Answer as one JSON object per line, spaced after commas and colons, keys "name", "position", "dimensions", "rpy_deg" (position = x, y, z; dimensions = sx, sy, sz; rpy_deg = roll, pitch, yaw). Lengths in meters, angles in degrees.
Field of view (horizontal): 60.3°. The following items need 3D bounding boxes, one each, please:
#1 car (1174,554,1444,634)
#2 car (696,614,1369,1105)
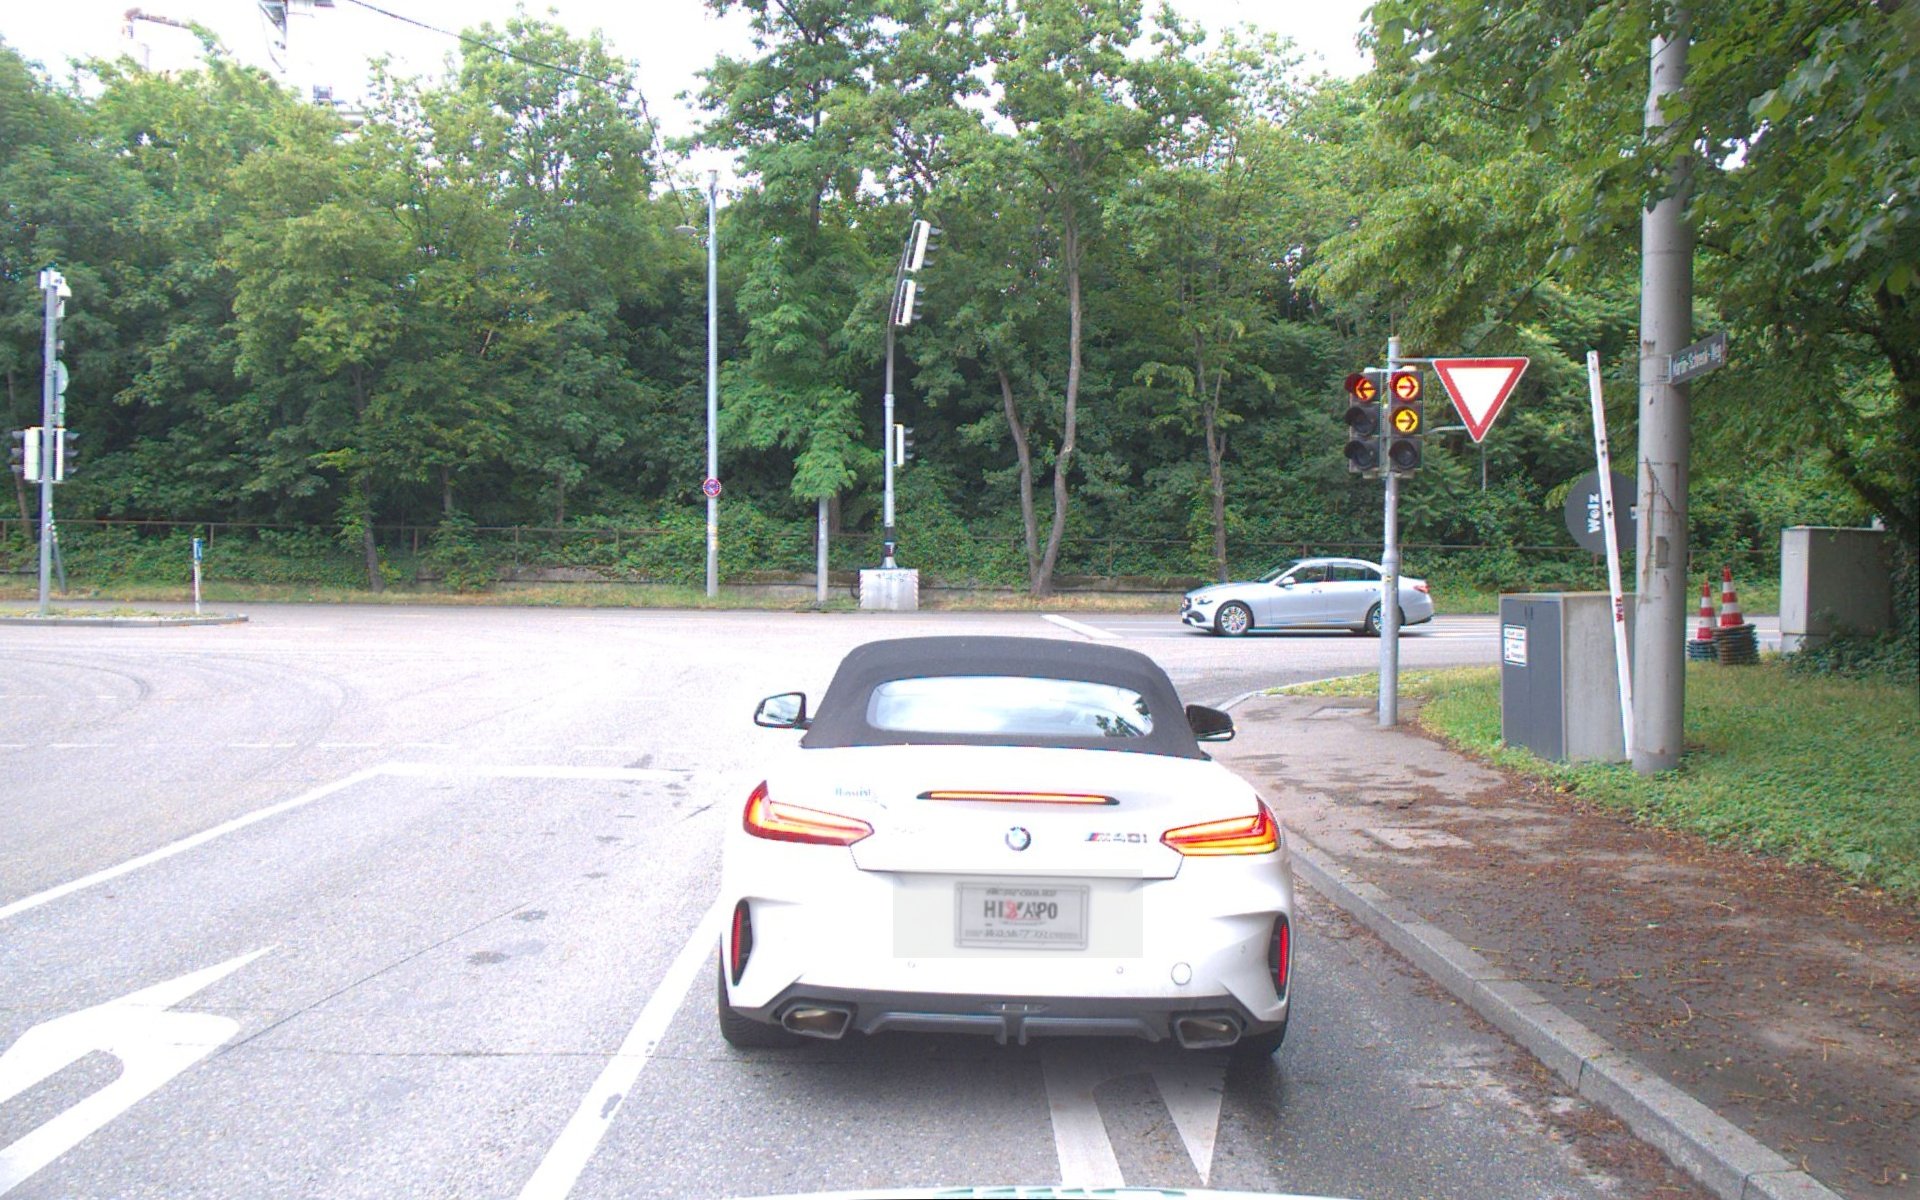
{"name": "car", "position": [6.505, -0.133, 31.124], "dimensions": [4.657, 1.356, 1.833], "rpy_deg": [1, 3, -4]}
{"name": "car", "position": [0.112, 0.746, 6.457], "dimensions": [1.791, 1.279, 3.997], "rpy_deg": [2, -1, -3]}
